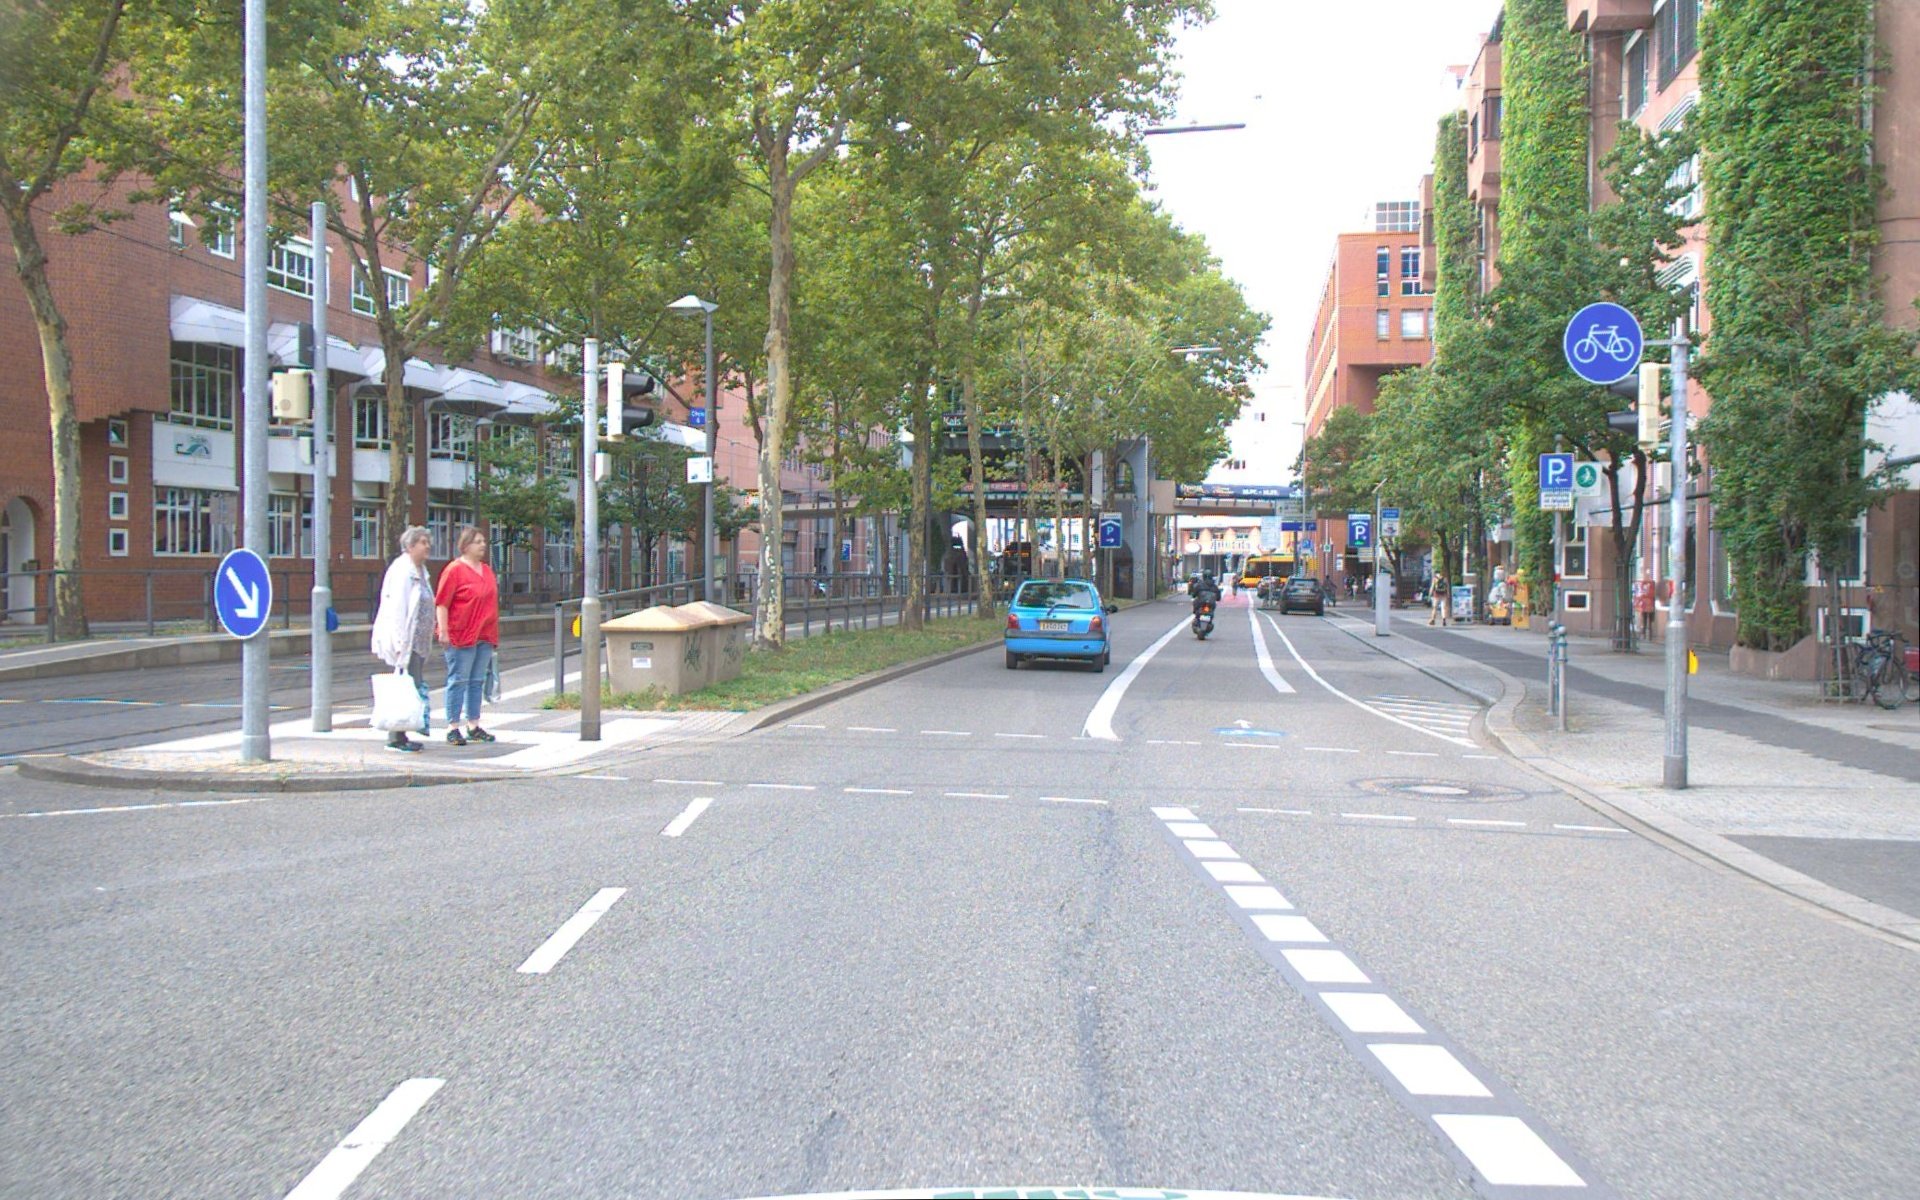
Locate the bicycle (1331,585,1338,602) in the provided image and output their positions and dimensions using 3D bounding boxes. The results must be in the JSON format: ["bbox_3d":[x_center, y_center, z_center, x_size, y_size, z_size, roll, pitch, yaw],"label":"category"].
[{"bbox_3d":[21.570,-0.406,95.223,0.348,0.956,1.210,0,1,10],"label":"bicycle"}]

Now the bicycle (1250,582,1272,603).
[{"bbox_3d":[15.086,-0.369,82.976,0.552,1.026,2.007,0,1,-5],"label":"bicycle"}]

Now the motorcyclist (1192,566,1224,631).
[{"bbox_3d":[5.990,-0.047,39.935,0.743,1.545,1.018,0,1,7],"label":"motorcyclist"}]

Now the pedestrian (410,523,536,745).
[{"bbox_3d":[-3.986,0.254,13.572,0.542,1.748,0.890,1,1,25],"label":"pedestrian"}]

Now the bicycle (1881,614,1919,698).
[{"bbox_3d":[12.332,0.716,20.813,0.604,1.026,1.736,1,1,4],"label":"bicycle"}]

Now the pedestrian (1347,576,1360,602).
[{"bbox_3d":[24.948,-0.697,104.918,0.655,1.588,0.729,1,1,6],"label":"pedestrian"}]

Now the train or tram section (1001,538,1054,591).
[{"bbox_3d":[4.433,-2.283,107.052,2.338,3.310,8.827,0,1,9],"label":"train or tram section"}]

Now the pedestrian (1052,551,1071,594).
[{"bbox_3d":[4.485,-1.228,73.013,0.712,1.891,0.871,1,1,11],"label":"pedestrian"}]

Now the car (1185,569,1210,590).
[{"bbox_3d":[19.297,-1.709,134.272,1.846,1.652,4.004,1,1,10],"label":"car"}]

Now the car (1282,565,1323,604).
[{"bbox_3d":[14.740,-0.699,71.296,1.662,1.629,4.004,0,1,10],"label":"car"}]

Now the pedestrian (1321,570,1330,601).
[{"bbox_3d":[21.122,-0.863,95.526,0.499,1.790,0.539,0,1,10],"label":"pedestrian"}]

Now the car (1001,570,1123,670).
[{"bbox_3d":[1.718,0.265,26.857,1.605,1.410,3.847,1,2,9],"label":"car"}]

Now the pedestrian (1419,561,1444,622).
[{"bbox_3d":[14.838,-0.269,52.095,0.633,1.891,0.783,1,1,9],"label":"pedestrian"}]

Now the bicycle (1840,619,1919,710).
[{"bbox_3d":[11.701,0.786,20.655,0.604,1.026,1.736,1,1,4],"label":"bicycle"}]

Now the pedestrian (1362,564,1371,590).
[{"bbox_3d":[25.500,-1.446,103.771,0.534,1.588,0.615,1,1,9],"label":"pedestrian"}]

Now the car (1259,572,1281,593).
[{"bbox_3d":[23.905,-1.374,127.700,1.662,1.629,4.004,0,1,10],"label":"car"}]

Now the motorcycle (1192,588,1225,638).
[{"bbox_3d":[5.989,0.296,39.919,0.751,1.126,2.210,0,1,8],"label":"motorcycle"}]

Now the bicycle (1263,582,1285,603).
[{"bbox_3d":[15.743,-0.380,82.922,0.552,1.026,2.007,0,1,-5],"label":"bicycle"}]

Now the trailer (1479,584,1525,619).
[{"bbox_3d":[17.231,0.042,52.538,0.974,1.077,1.604,1,2,34],"label":"trailer"}]

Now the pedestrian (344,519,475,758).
[{"bbox_3d":[-4.185,0.267,12.611,0.541,1.748,0.891,1,1,16],"label":"pedestrian"}]

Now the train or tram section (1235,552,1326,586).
[{"bbox_3d":[31.442,-3.062,162.324,8.647,3.310,2.387,0,1,-16],"label":"train or tram section"}]
